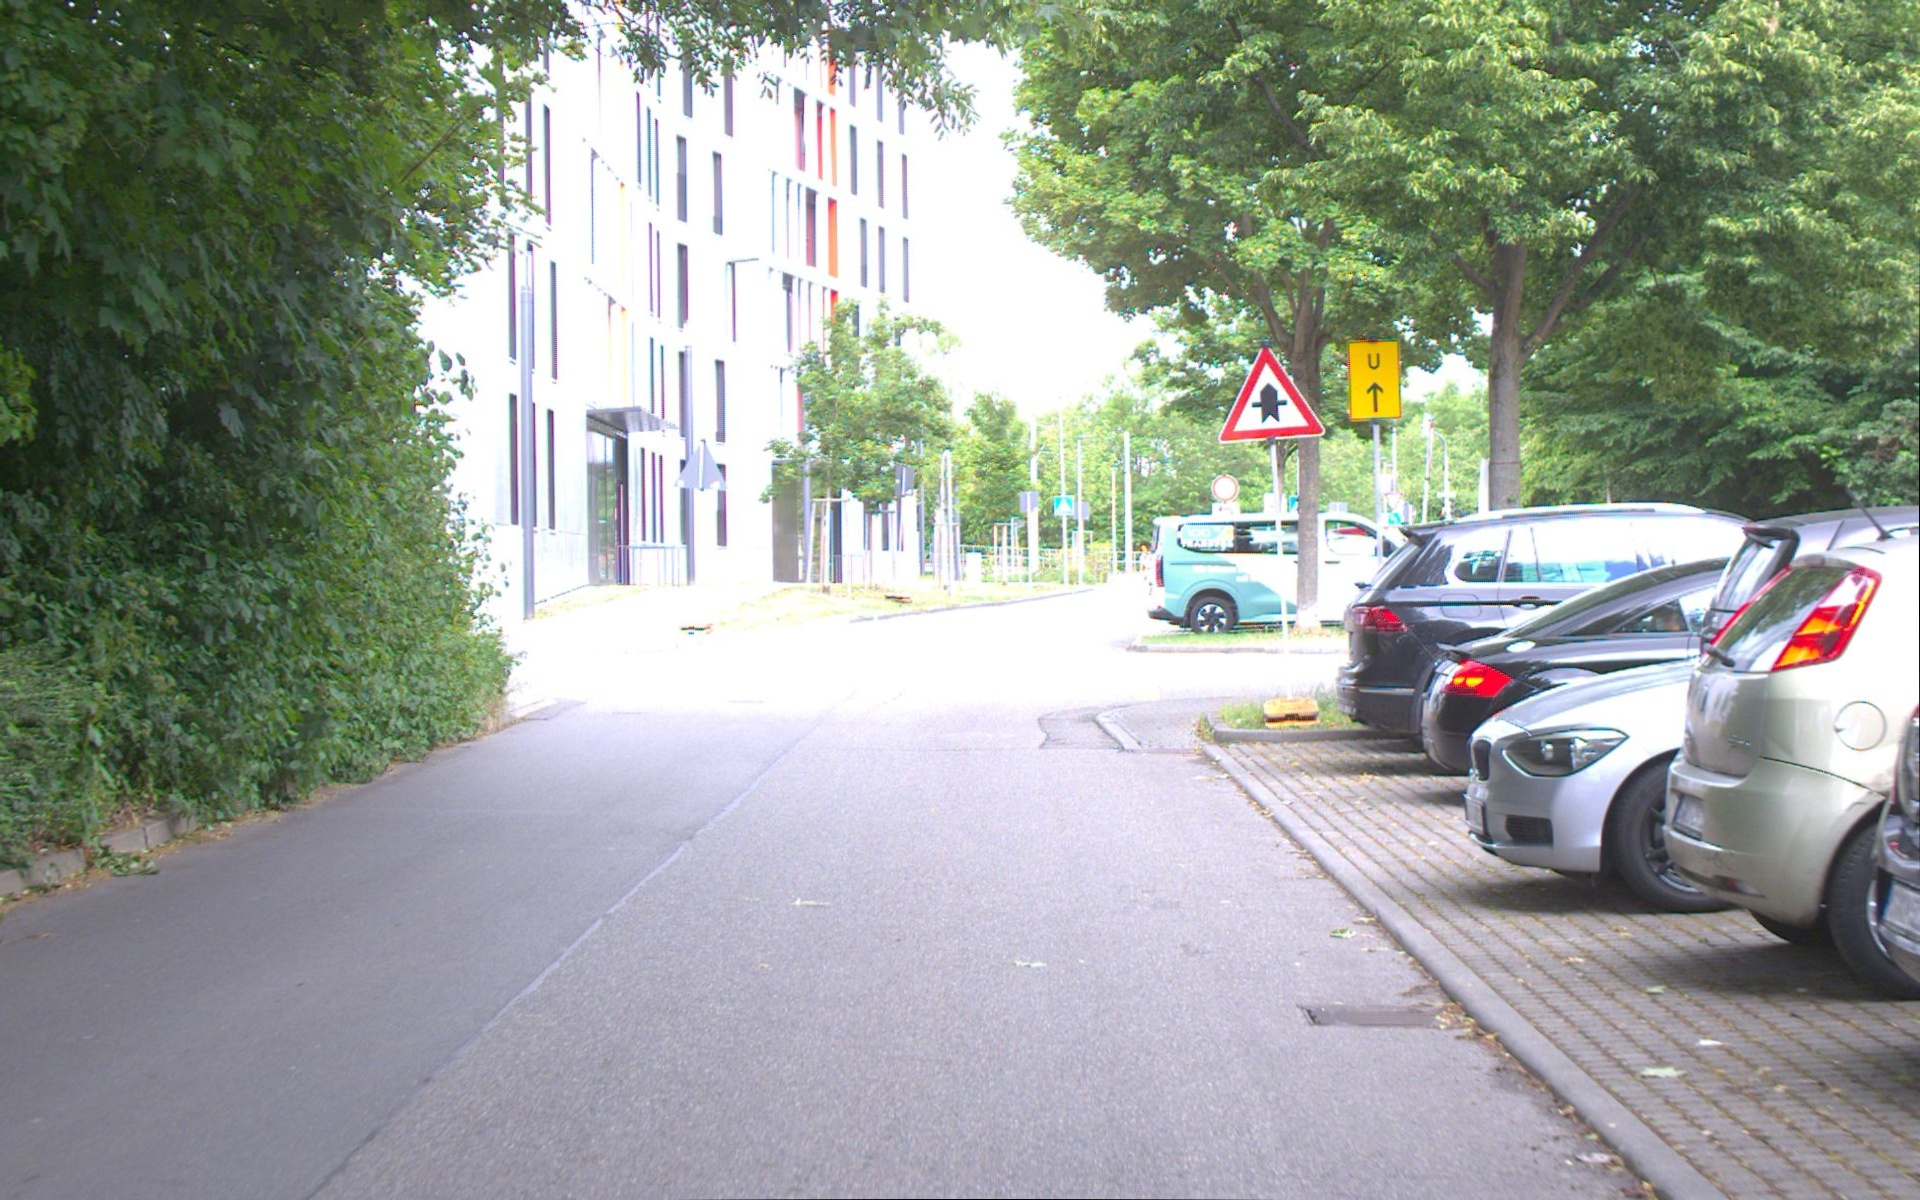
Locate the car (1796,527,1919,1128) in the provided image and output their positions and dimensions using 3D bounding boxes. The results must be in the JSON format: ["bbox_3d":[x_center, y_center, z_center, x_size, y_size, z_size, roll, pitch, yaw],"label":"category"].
[{"bbox_3d":[4.392,0.485,9.017,3.961,1.506,1.763,-3,1,3],"label":"car"}]

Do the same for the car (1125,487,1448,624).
[{"bbox_3d":[5.158,-0.713,54.812,4.973,1.965,1.847,-2,1,2],"label":"car"}]

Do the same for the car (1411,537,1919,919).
[{"bbox_3d":[4.009,0.453,14.275,3.987,1.425,1.935,-2,0,1],"label":"car"}]

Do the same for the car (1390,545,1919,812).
[{"bbox_3d":[4.412,0.400,19.367,3.833,1.354,1.822,-2,0,5],"label":"car"}]

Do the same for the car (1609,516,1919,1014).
[{"bbox_3d":[4.344,0.452,11.509,3.987,1.522,1.811,-2,0,2],"label":"car"}]

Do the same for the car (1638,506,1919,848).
[{"bbox_3d":[5.428,0.305,16.814,3.832,1.553,1.819,-2,0,1],"label":"car"}]

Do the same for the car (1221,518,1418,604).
[{"bbox_3d":[8.162,-0.894,78.085,4.380,1.897,1.936,1,1,6],"label":"car"}]

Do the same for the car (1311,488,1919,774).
[{"bbox_3d":[4.370,0.179,22.056,4.124,1.644,1.980,-2,0,5],"label":"car"}]
